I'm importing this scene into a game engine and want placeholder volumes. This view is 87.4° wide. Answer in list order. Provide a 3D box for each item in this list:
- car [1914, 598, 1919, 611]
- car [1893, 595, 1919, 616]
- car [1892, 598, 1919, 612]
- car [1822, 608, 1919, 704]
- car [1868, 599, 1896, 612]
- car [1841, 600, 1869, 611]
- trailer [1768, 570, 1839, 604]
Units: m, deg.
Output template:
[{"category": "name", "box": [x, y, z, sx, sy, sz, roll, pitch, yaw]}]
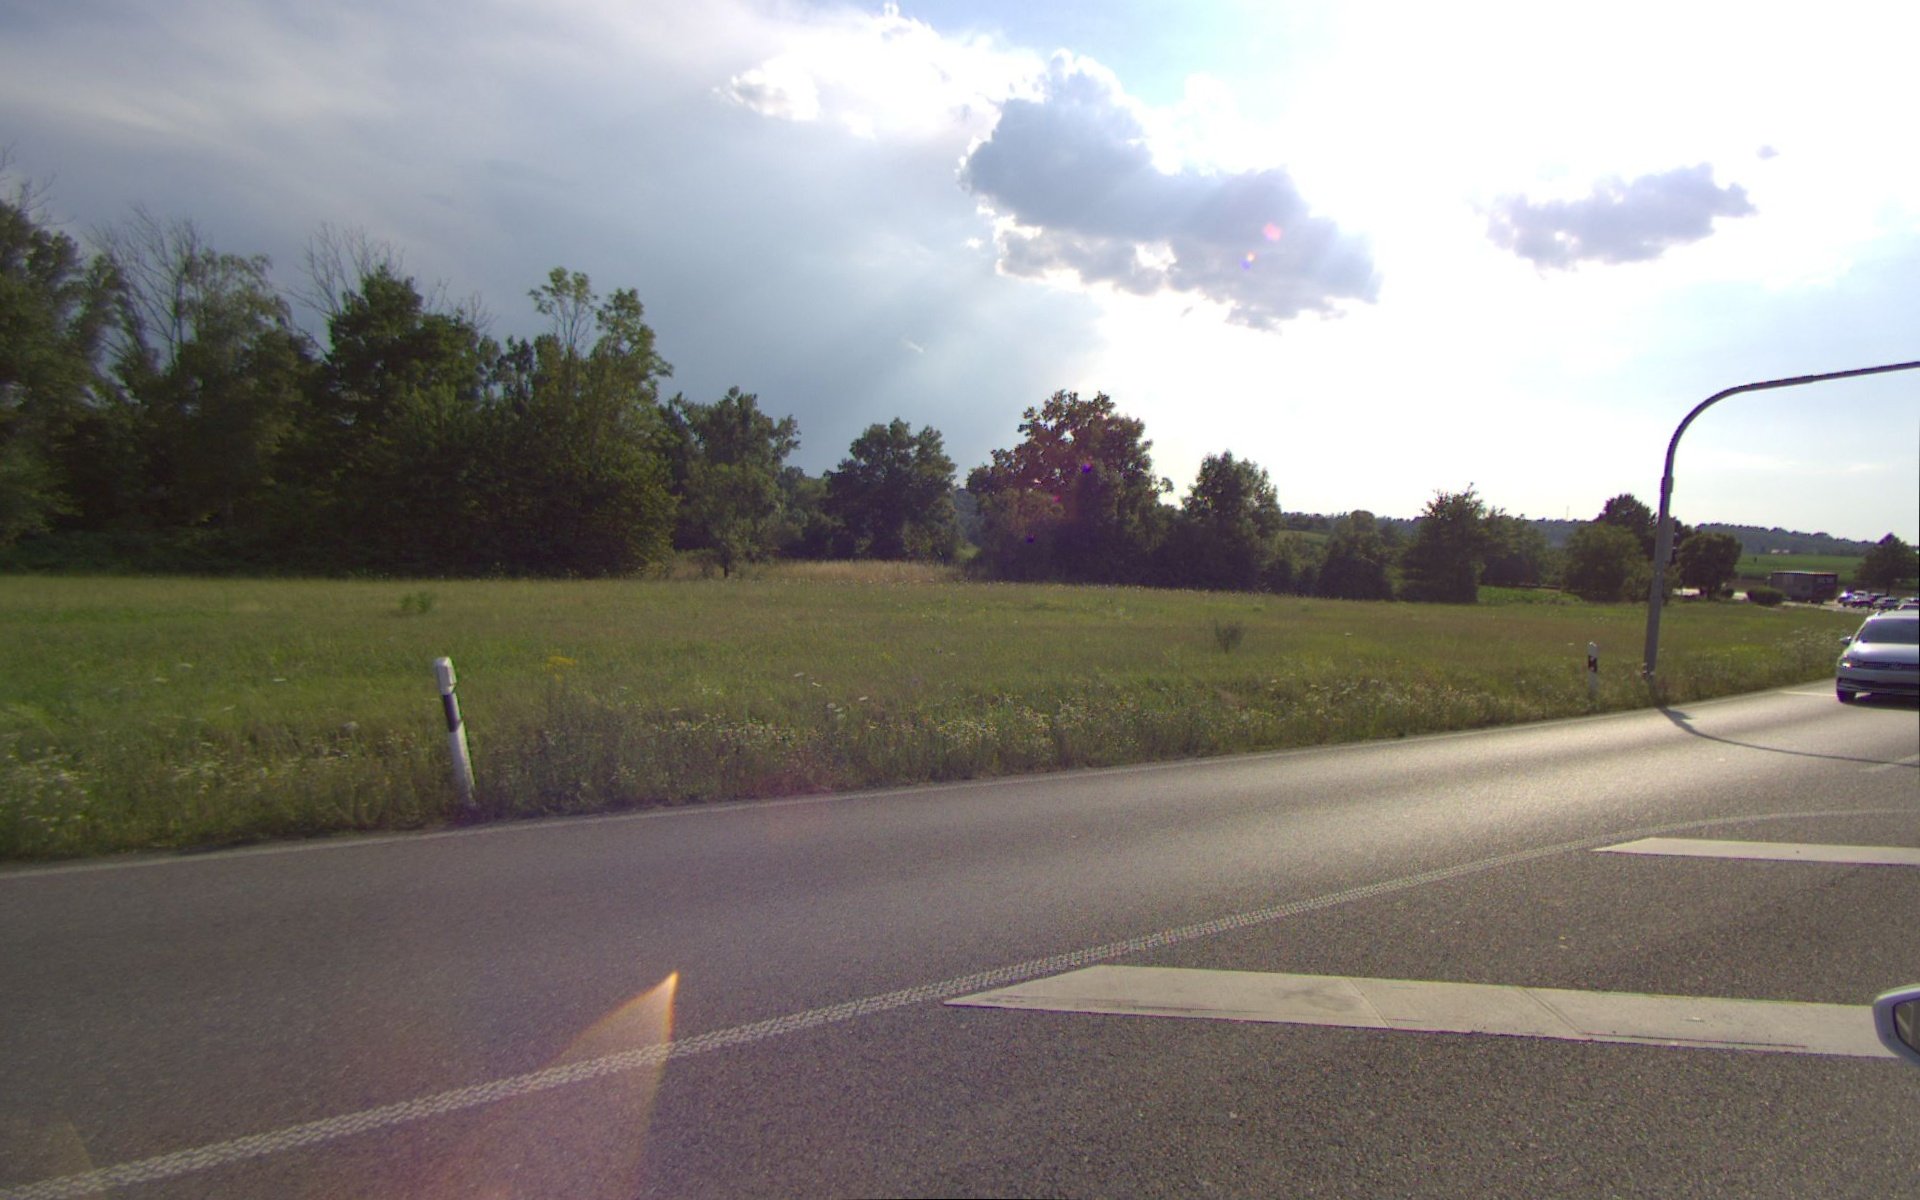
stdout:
[{"category": "car", "box": [101.299, 0.485, 104.806, 1.556, 1.359, 3.420, 3, 2, 28]}, {"category": "car", "box": [82.786, 0.492, 87.804, 1.567, 1.799, 3.981, 1, 0, 40]}, {"category": "car", "box": [104.368, 0.563, 110.670, 1.556, 1.359, 3.420, 3, 2, 28]}, {"category": "car", "box": [17.905, 0.982, 18.942, 4.295, 1.607, 1.864, 0, 0, -40]}, {"category": "car", "box": [108.277, 0.679, 117.966, 1.556, 1.359, 3.420, 3, 2, 28]}, {"category": "car", "box": [110.852, 0.684, 124.483, 1.743, 1.222, 3.420, 3, 2, 28]}, {"category": "trailer", "box": [118.565, -1.874, 141.539, 3.321, 4.409, 14.284, 3, 2, 22]}]
